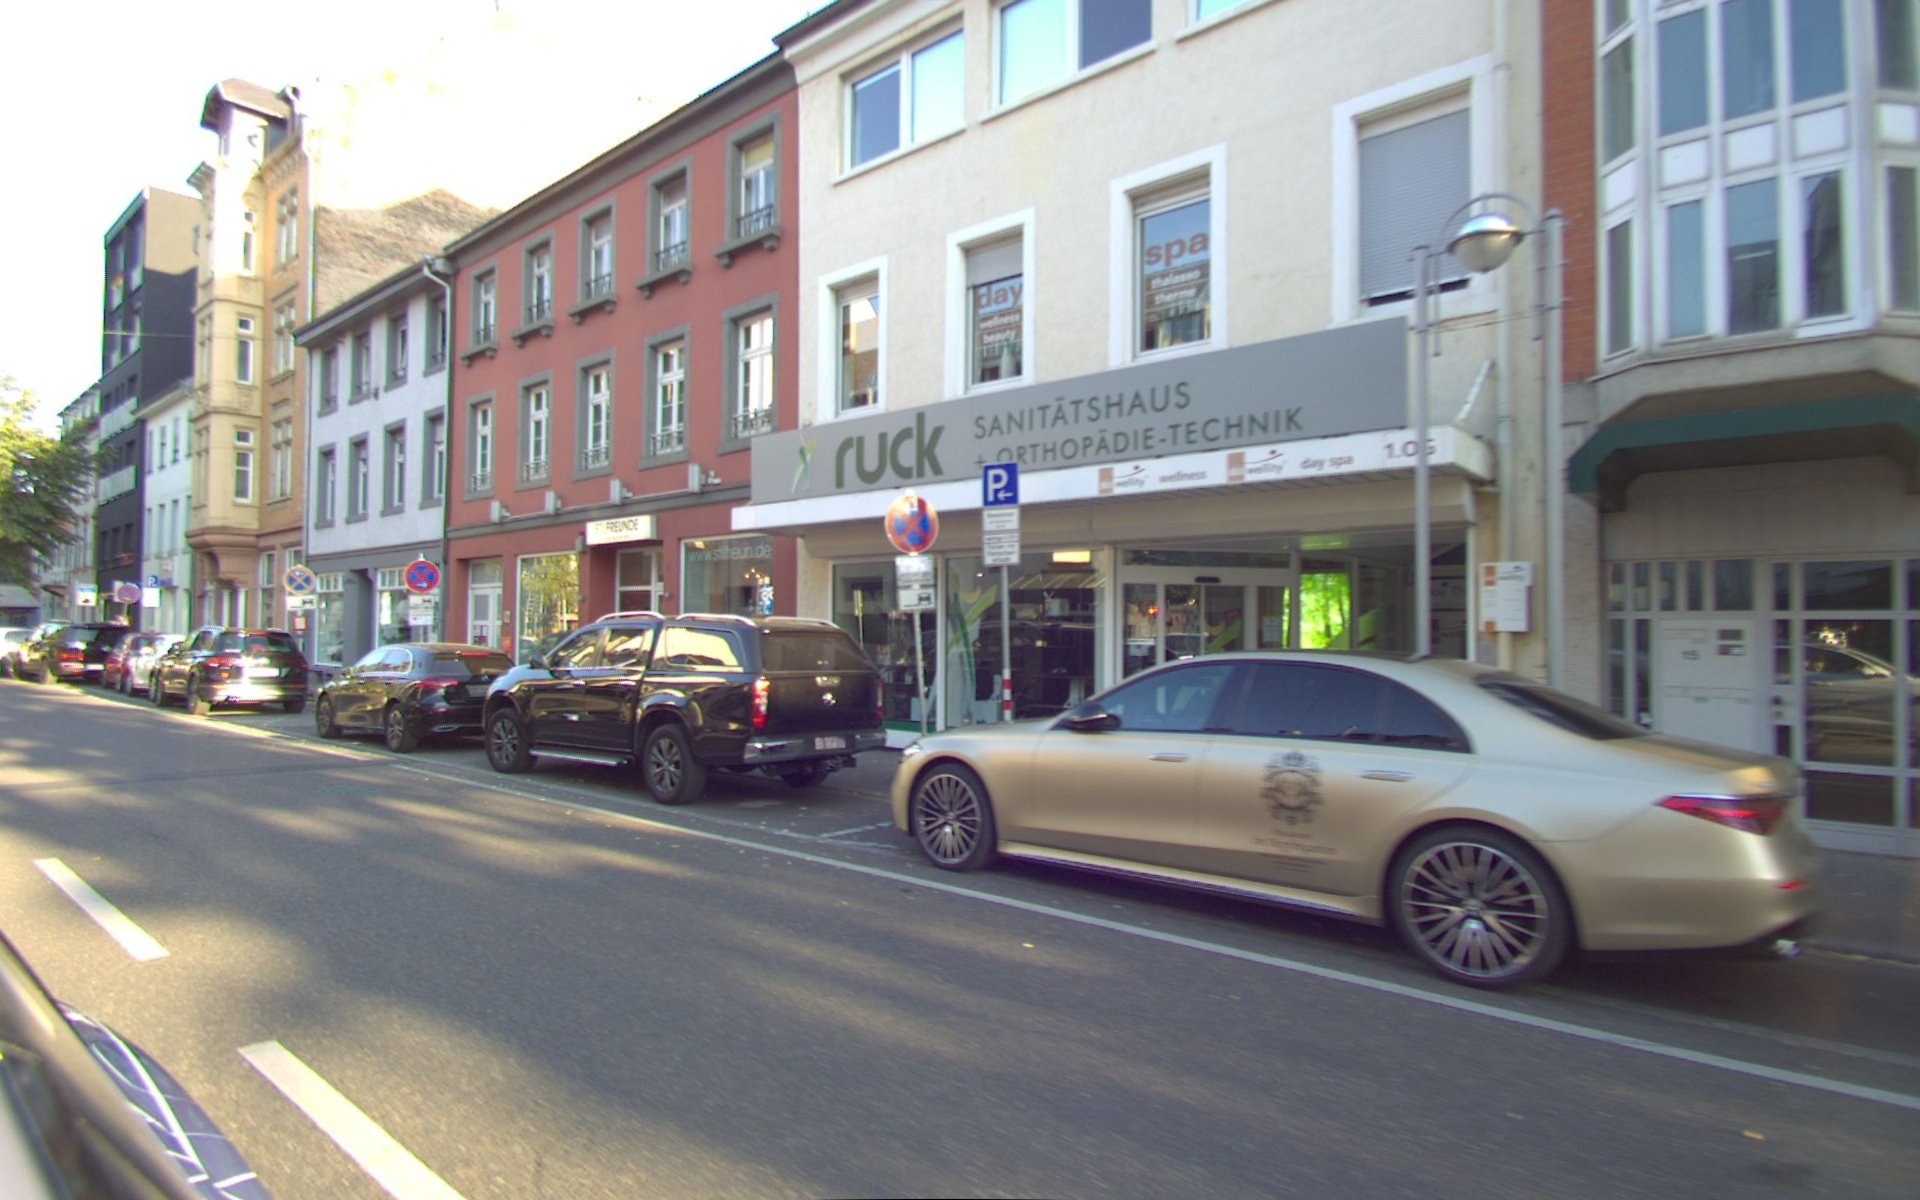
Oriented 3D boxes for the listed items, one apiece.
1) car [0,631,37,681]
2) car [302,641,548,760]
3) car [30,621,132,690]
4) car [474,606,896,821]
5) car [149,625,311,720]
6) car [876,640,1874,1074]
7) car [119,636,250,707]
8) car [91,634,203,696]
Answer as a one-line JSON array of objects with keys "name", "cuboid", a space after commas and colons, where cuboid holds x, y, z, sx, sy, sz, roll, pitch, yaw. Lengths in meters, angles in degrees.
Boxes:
[{"name": "car", "cuboid": [-30.804, 1.751, 32.157, 3.562, 1.532, 1.652, -1, -4, 40]}, {"name": "car", "cuboid": [-7.789, 1.373, 14.592, 4.011, 1.448, 1.684, -1, -5, 40]}, {"name": "car", "cuboid": [-24.673, 1.547, 28.374, 3.564, 1.788, 1.651, -2, -5, 42]}, {"name": "car", "cuboid": [-3.077, 1.039, 10.683, 4.933, 1.793, 1.703, -1, -4, 39]}, {"name": "car", "cuboid": [-14.561, 1.403, 20.115, 4.048, 1.696, 1.702, -2, -5, 42]}, {"name": "car", "cuboid": [1.976, 1.019, 6.037, 5.106, 1.484, 1.972, -2, -4, 42]}, {"name": "car", "cuboid": [-17.830, 1.612, 23.223, 3.690, 1.481, 1.666, -2, -5, 42]}, {"name": "car", "cuboid": [-21.199, 1.671, 26.342, 3.564, 1.468, 1.651, -2, -5, 42]}]
